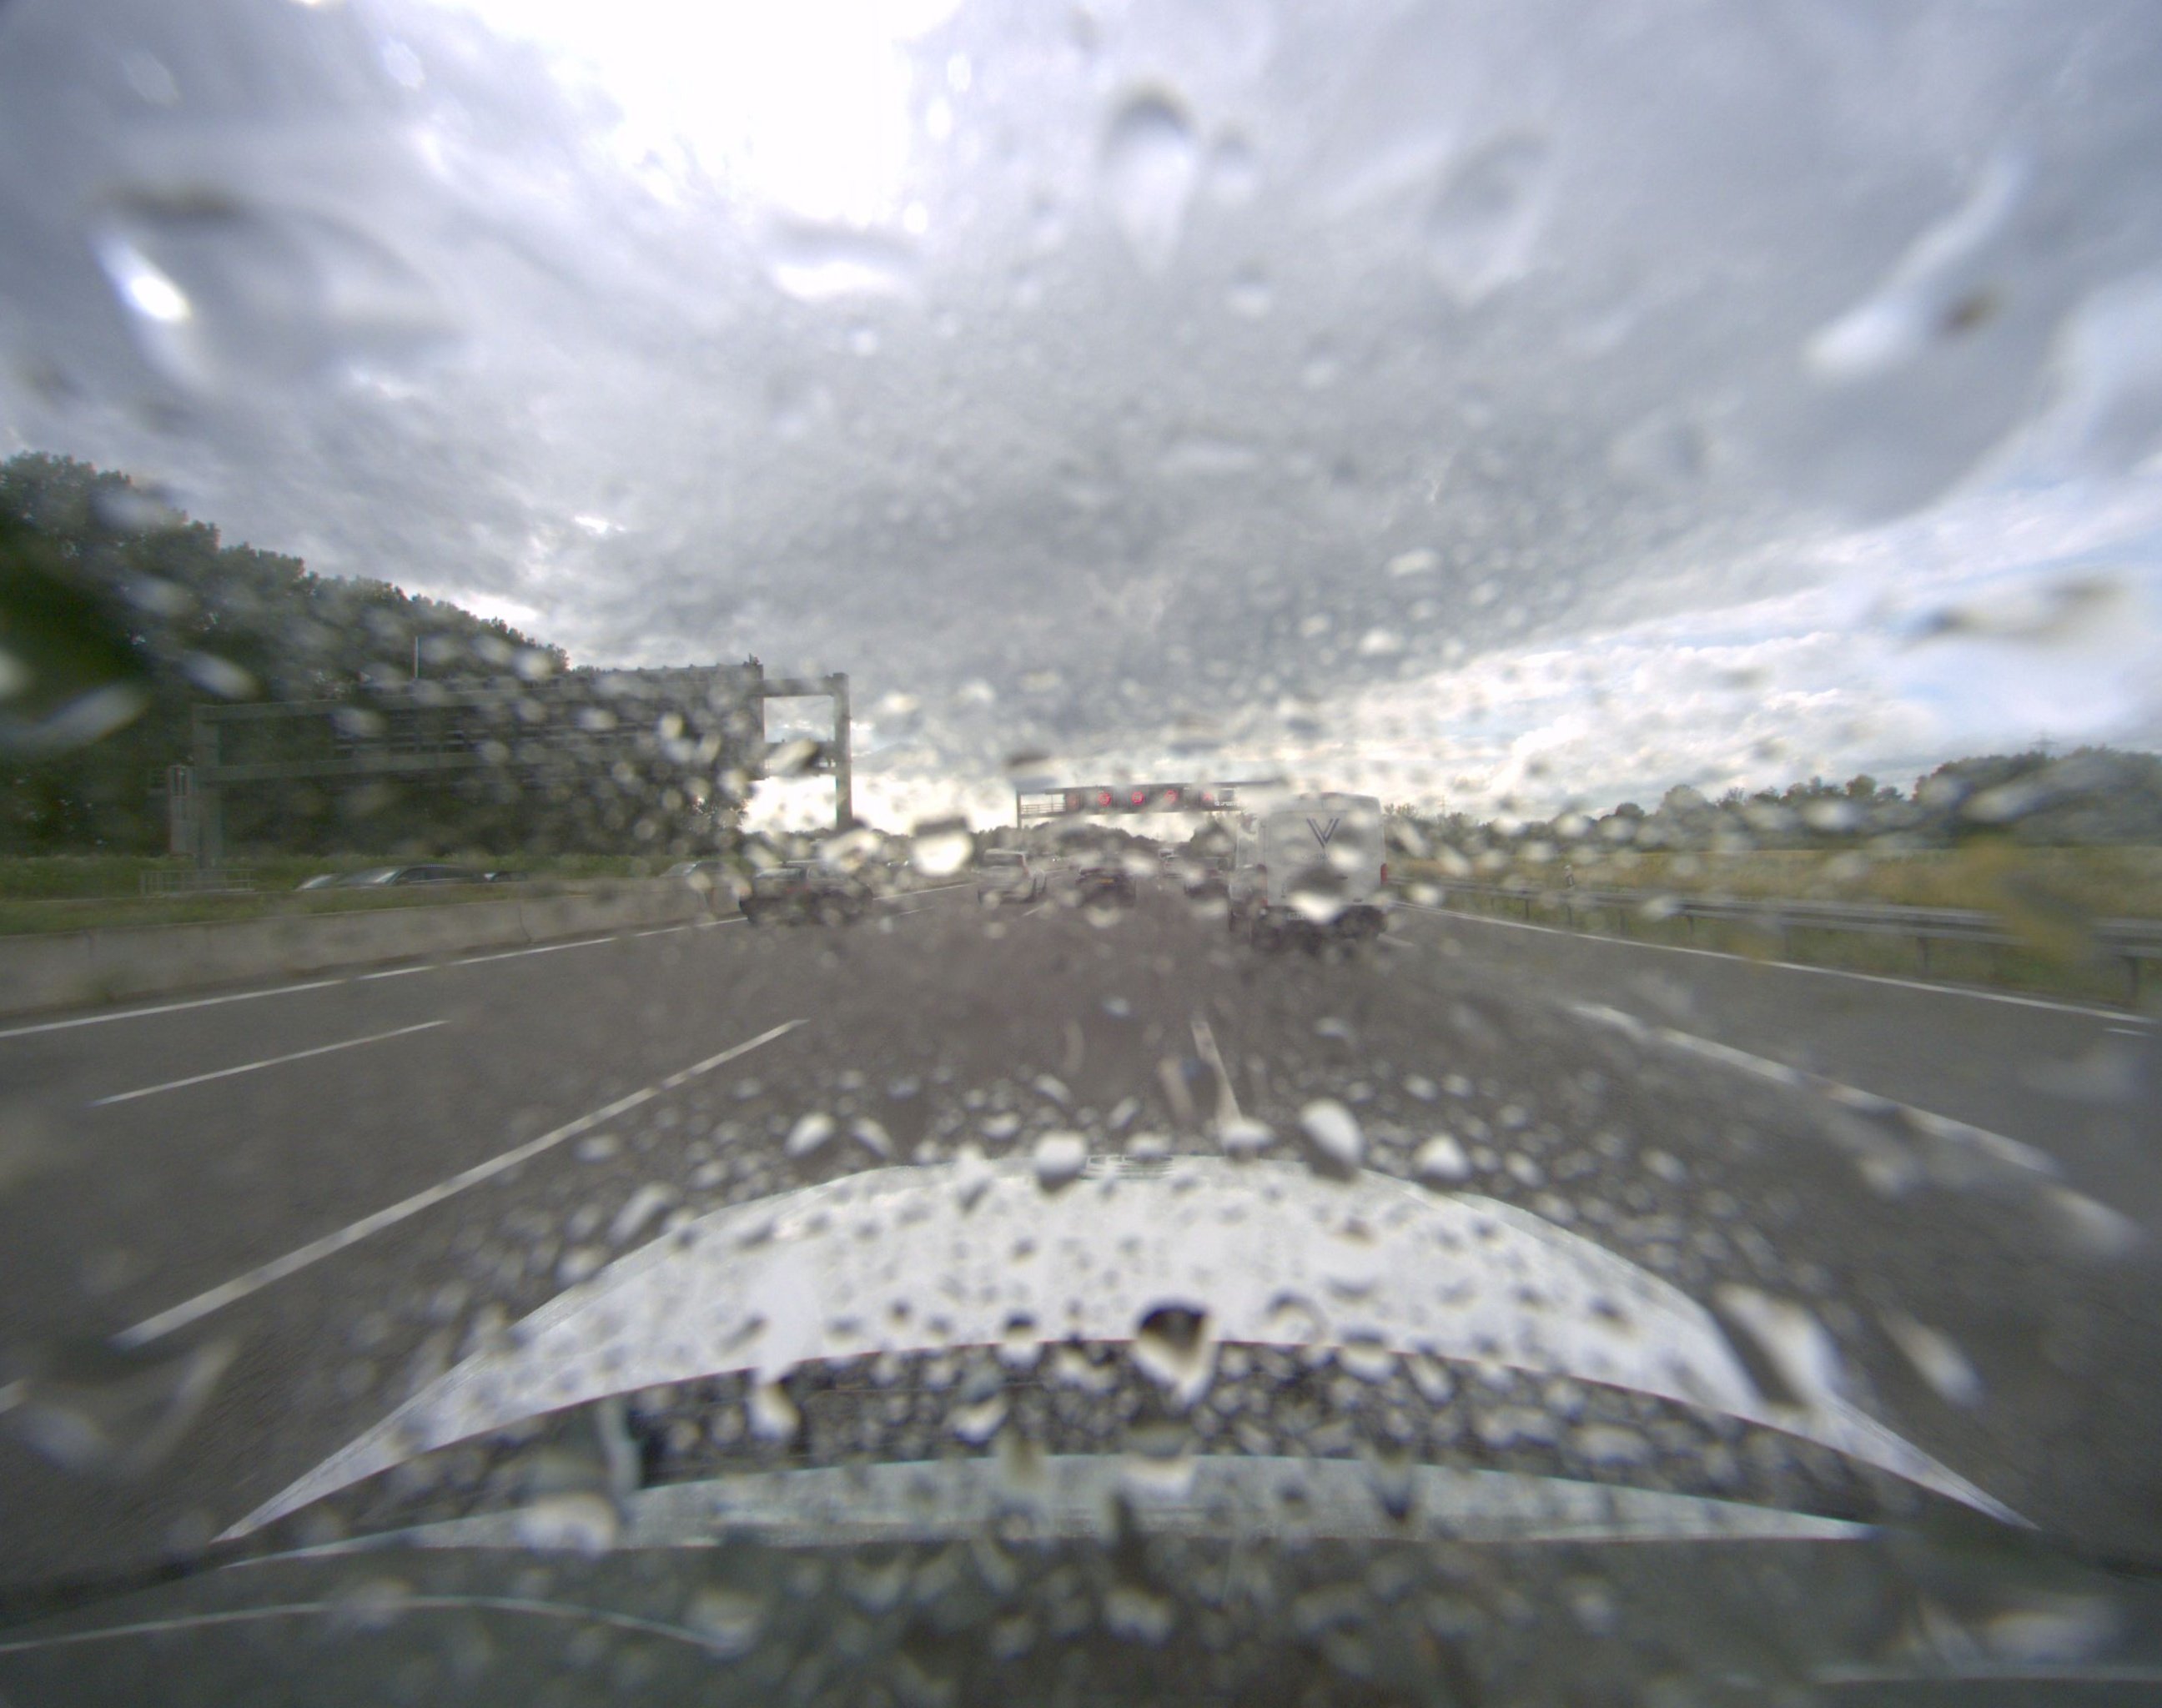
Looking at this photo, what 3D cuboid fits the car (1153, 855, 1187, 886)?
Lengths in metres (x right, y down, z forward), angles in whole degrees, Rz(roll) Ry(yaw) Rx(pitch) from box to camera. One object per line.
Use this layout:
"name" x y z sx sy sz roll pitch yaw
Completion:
"car" 4.971 0.881 45.104 1.697 1.631 4.466 0 -1 8

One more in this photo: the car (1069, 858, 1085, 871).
"car" -0.441 1.214 92.951 1.556 1.477 3.924 0 -1 5

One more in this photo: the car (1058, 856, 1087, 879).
"car" -0.629 0.987 62.264 1.872 1.686 4.005 -1 0 4

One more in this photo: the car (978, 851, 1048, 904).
"car" -2.338 0.796 29.057 1.772 1.716 4.358 0 -1 5

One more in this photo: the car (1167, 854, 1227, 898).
"car" 4.259 0.782 30.584 1.931 1.491 4.781 0 0 4

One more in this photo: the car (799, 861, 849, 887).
"car" -18.015 1.381 57.283 1.984 1.727 4.022 0 -1 4

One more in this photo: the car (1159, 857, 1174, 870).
"car" 10.121 1.124 96.195 1.786 1.477 4.045 0 -1 6

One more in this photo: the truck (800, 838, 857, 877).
"truck" -23.887 0.374 77.412 3.121 3.508 6.107 0 -1 4

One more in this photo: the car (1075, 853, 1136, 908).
"car" 0.793 0.787 26.066 1.774 1.613 4.599 0 -1 2

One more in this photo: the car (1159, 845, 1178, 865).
"car" 13.114 0.210 122.590 2.555 2.895 7.543 0 -1 5

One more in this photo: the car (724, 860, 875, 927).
"car" -6.817 0.895 20.251 1.771 1.481 4.362 0 -1 7

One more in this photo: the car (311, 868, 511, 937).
"car" -17.483 1.194 21.535 1.789 1.614 4.004 0 -1 4

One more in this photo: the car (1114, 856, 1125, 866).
"car" 6.868 1.271 144.033 1.872 1.686 4.005 0 -1 4

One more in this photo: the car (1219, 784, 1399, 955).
"car" 3.806 0.249 14.699 2.130 2.501 5.455 0 -1 5

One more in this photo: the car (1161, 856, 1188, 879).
"car" 6.698 0.931 58.618 1.801 1.599 4.702 0 -1 5

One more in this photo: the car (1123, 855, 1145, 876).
"car" 4.516 0.963 68.926 1.762 1.686 4.005 0 -1 4

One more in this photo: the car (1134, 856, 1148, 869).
"car" 8.228 1.143 111.823 1.872 1.686 4.005 0 -1 4

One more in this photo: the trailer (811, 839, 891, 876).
"trailer" -23.394 0.408 84.068 3.095 3.508 14.468 0 0 4

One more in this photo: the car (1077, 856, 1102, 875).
"car" 0.764 1.002 72.124 1.872 1.686 4.005 0 -1 4

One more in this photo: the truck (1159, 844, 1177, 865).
"truck" 15.741 0.087 147.111 3.117 3.709 9.864 0 -1 6

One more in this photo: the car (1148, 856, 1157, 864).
"car" 16.677 1.440 190.680 1.873 1.686 4.003 0 -1 3
